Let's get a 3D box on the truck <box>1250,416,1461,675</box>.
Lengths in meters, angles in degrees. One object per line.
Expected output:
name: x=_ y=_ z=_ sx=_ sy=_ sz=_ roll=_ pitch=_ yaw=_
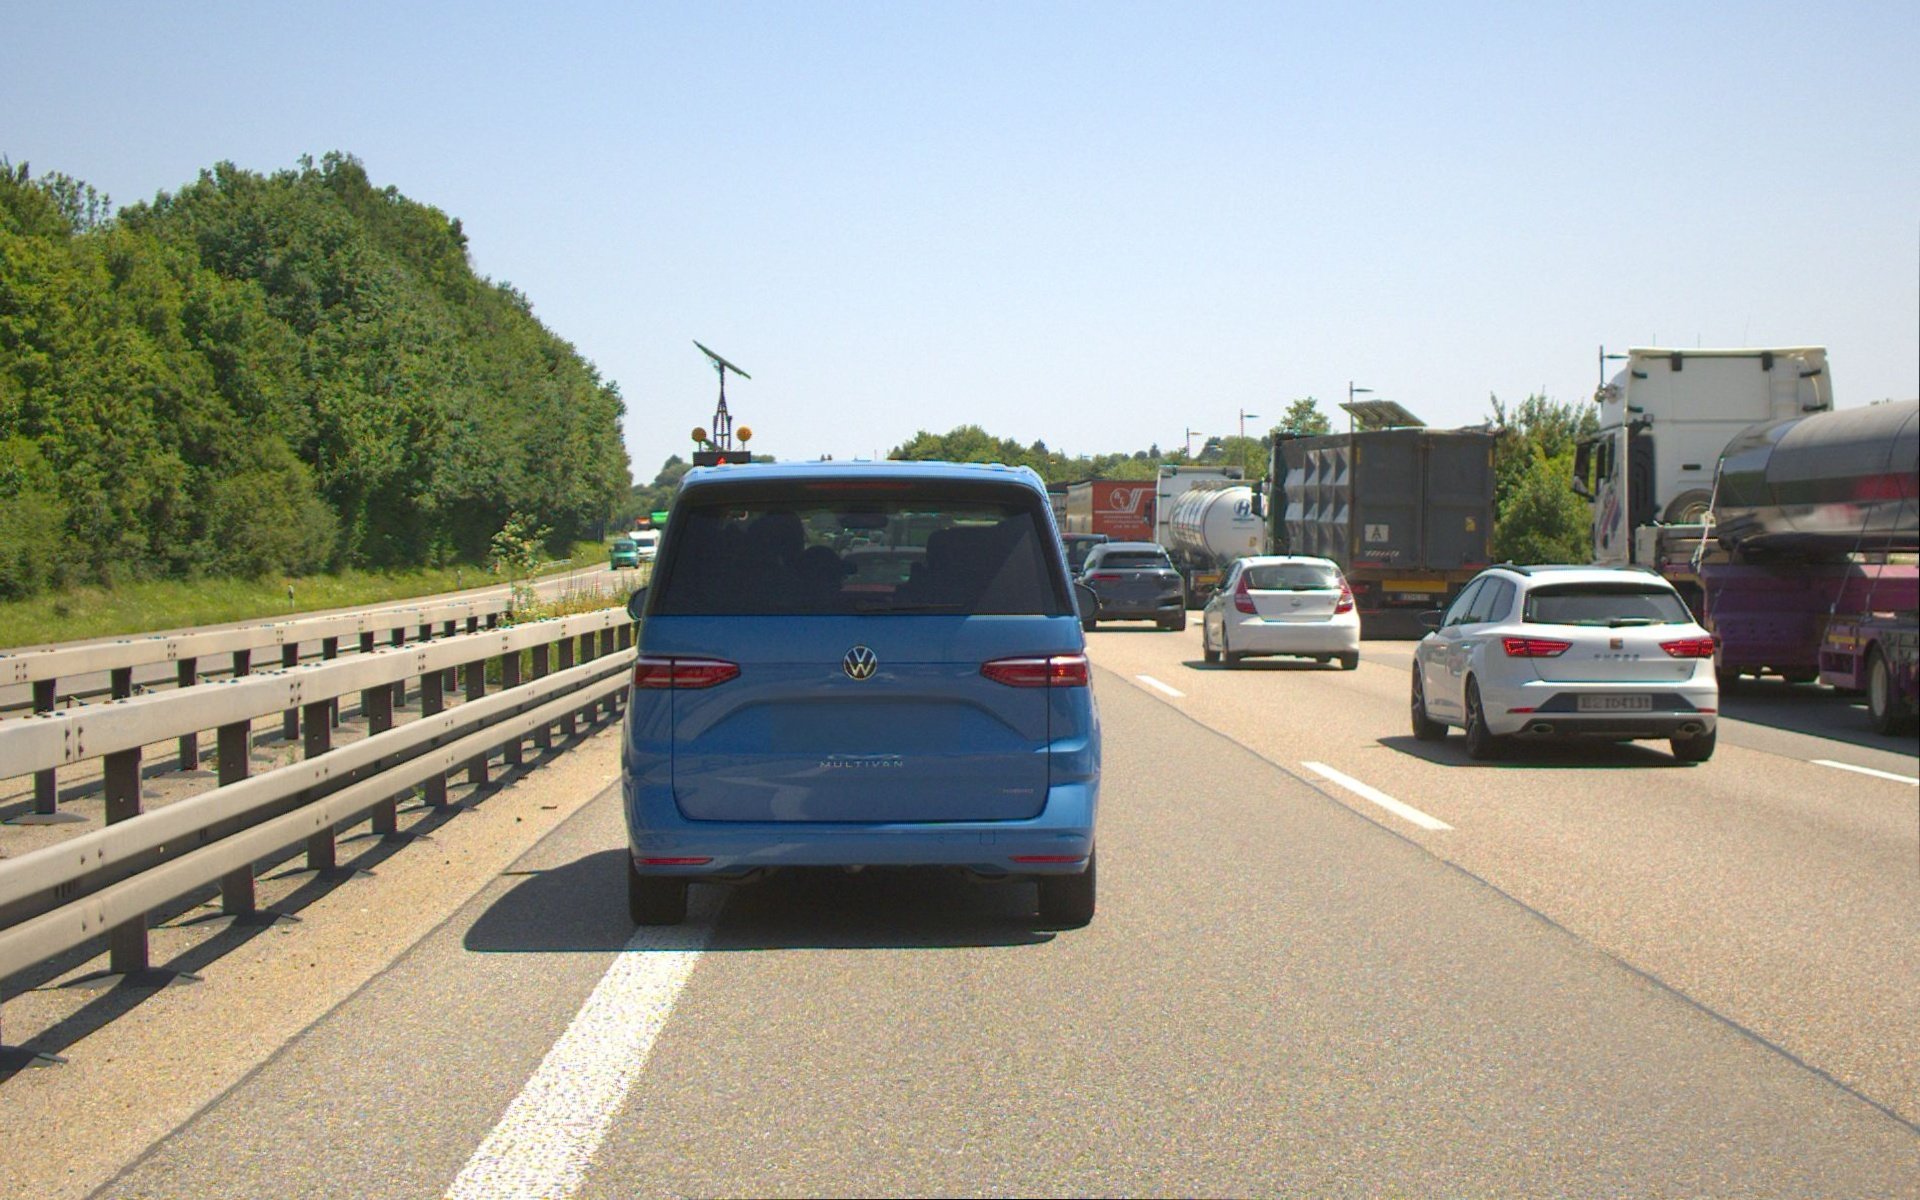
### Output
truck: x=8.199 y=-1.104 z=72.030 sx=3.658 sy=5.162 sz=5.709 roll=1 pitch=0 yaw=-1

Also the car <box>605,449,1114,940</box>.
car: x=-0.357 y=0.349 z=14.962 sx=1.901 sy=1.831 sz=4.000 roll=1 pitch=0 yaw=1

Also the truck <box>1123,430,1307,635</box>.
truck: x=6.864 y=-1.738 z=95.485 sx=3.621 sy=5.195 sz=15.690 roll=1 pitch=0 yaw=-1

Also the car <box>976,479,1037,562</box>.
car: x=3.000 y=-5.139 z=224.179 sx=3.218 sy=5.239 sz=8.145 roll=1 pitch=0 yaw=-4

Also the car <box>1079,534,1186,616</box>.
car: x=3.310 y=-0.473 z=66.537 sx=1.781 sy=1.519 sz=4.000 roll=1 pitch=0 yaw=-1

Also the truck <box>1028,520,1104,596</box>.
truck: x=2.643 y=-1.040 z=86.622 sx=1.725 sy=1.851 sz=4.000 roll=1 pitch=0 yaw=-1

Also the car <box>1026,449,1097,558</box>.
car: x=5.043 y=-4.803 z=172.704 sx=3.218 sy=5.239 sz=8.144 roll=1 pitch=0 yaw=0

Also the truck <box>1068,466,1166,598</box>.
truck: x=5.999 y=-2.543 z=133.073 sx=3.068 sy=4.903 sz=10.690 roll=1 pitch=0 yaw=-1

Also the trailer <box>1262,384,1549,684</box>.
trailer: x=8.230 y=-1.150 z=65.644 sx=3.646 sy=5.119 sz=13.076 roll=1 pitch=0 yaw=0

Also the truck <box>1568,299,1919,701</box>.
truck: x=9.262 y=-1.024 z=38.813 sx=3.626 sy=4.080 sz=7.523 roll=1 pitch=0 yaw=2

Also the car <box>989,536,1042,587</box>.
car: x=2.214 y=-1.536 z=139.076 sx=1.993 sy=2.007 sz=4.000 roll=1 pitch=0 yaw=-1

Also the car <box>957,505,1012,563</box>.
car: x=1.176 y=-3.179 z=167.516 sx=2.550 sy=2.708 sz=5.621 roll=1 pitch=0 yaw=-1

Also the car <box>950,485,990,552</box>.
car: x=0.705 y=-5.940 z=254.065 sx=2.716 sy=4.697 sz=11.561 roll=1 pitch=0 yaw=-1

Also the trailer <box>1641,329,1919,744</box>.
trailer: x=9.006 y=-0.462 z=29.171 sx=3.646 sy=3.068 sz=15.771 roll=1 pitch=0 yaw=1

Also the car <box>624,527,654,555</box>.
car: x=-22.600 y=-4.150 z=242.396 sx=1.796 sy=1.880 sz=4.000 roll=1 pitch=0 yaw=-1

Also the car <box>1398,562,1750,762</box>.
car: x=4.534 y=0.411 z=25.959 sx=1.867 sy=1.356 sz=4.000 roll=1 pitch=1 yaw=-1

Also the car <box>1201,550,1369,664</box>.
car: x=4.300 y=0.083 z=45.993 sx=1.840 sy=1.449 sz=4.000 roll=1 pitch=0 yaw=0
